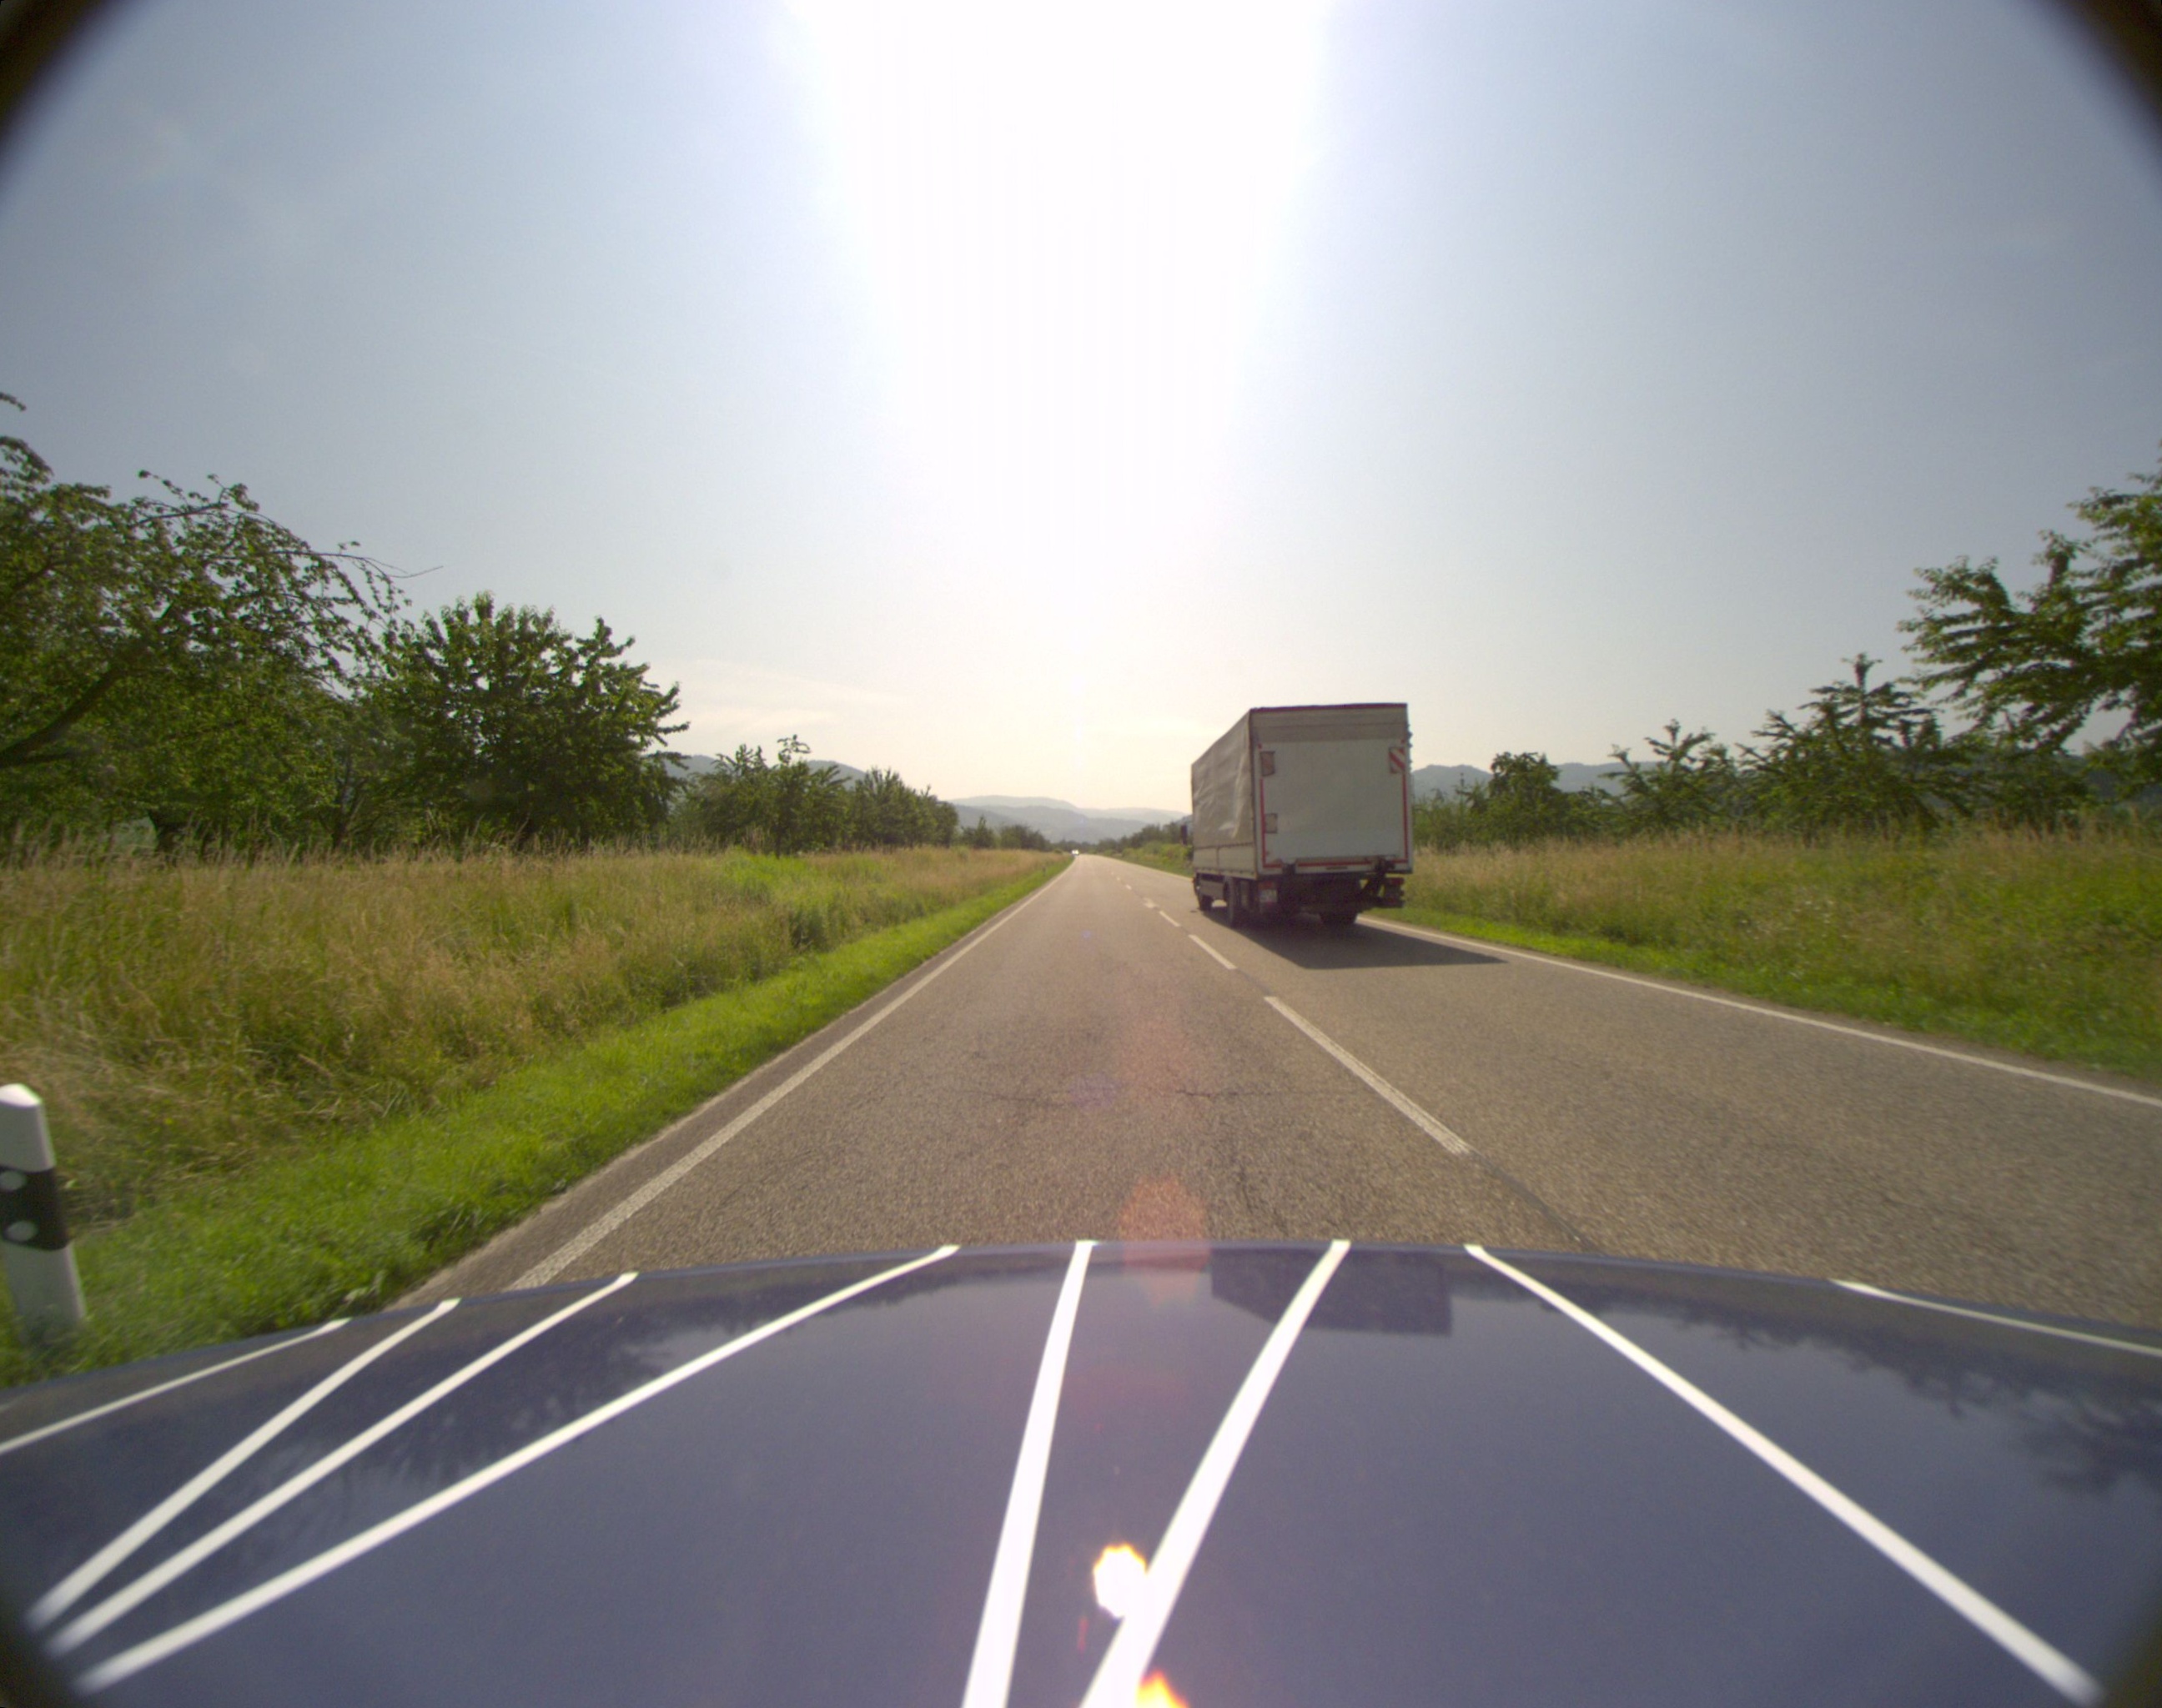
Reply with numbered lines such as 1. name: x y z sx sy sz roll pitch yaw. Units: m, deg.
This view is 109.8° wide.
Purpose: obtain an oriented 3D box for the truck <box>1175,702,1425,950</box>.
1. truck: 4.073 -0.469 17.041 2.671 3.816 10.208 -2 0 1
